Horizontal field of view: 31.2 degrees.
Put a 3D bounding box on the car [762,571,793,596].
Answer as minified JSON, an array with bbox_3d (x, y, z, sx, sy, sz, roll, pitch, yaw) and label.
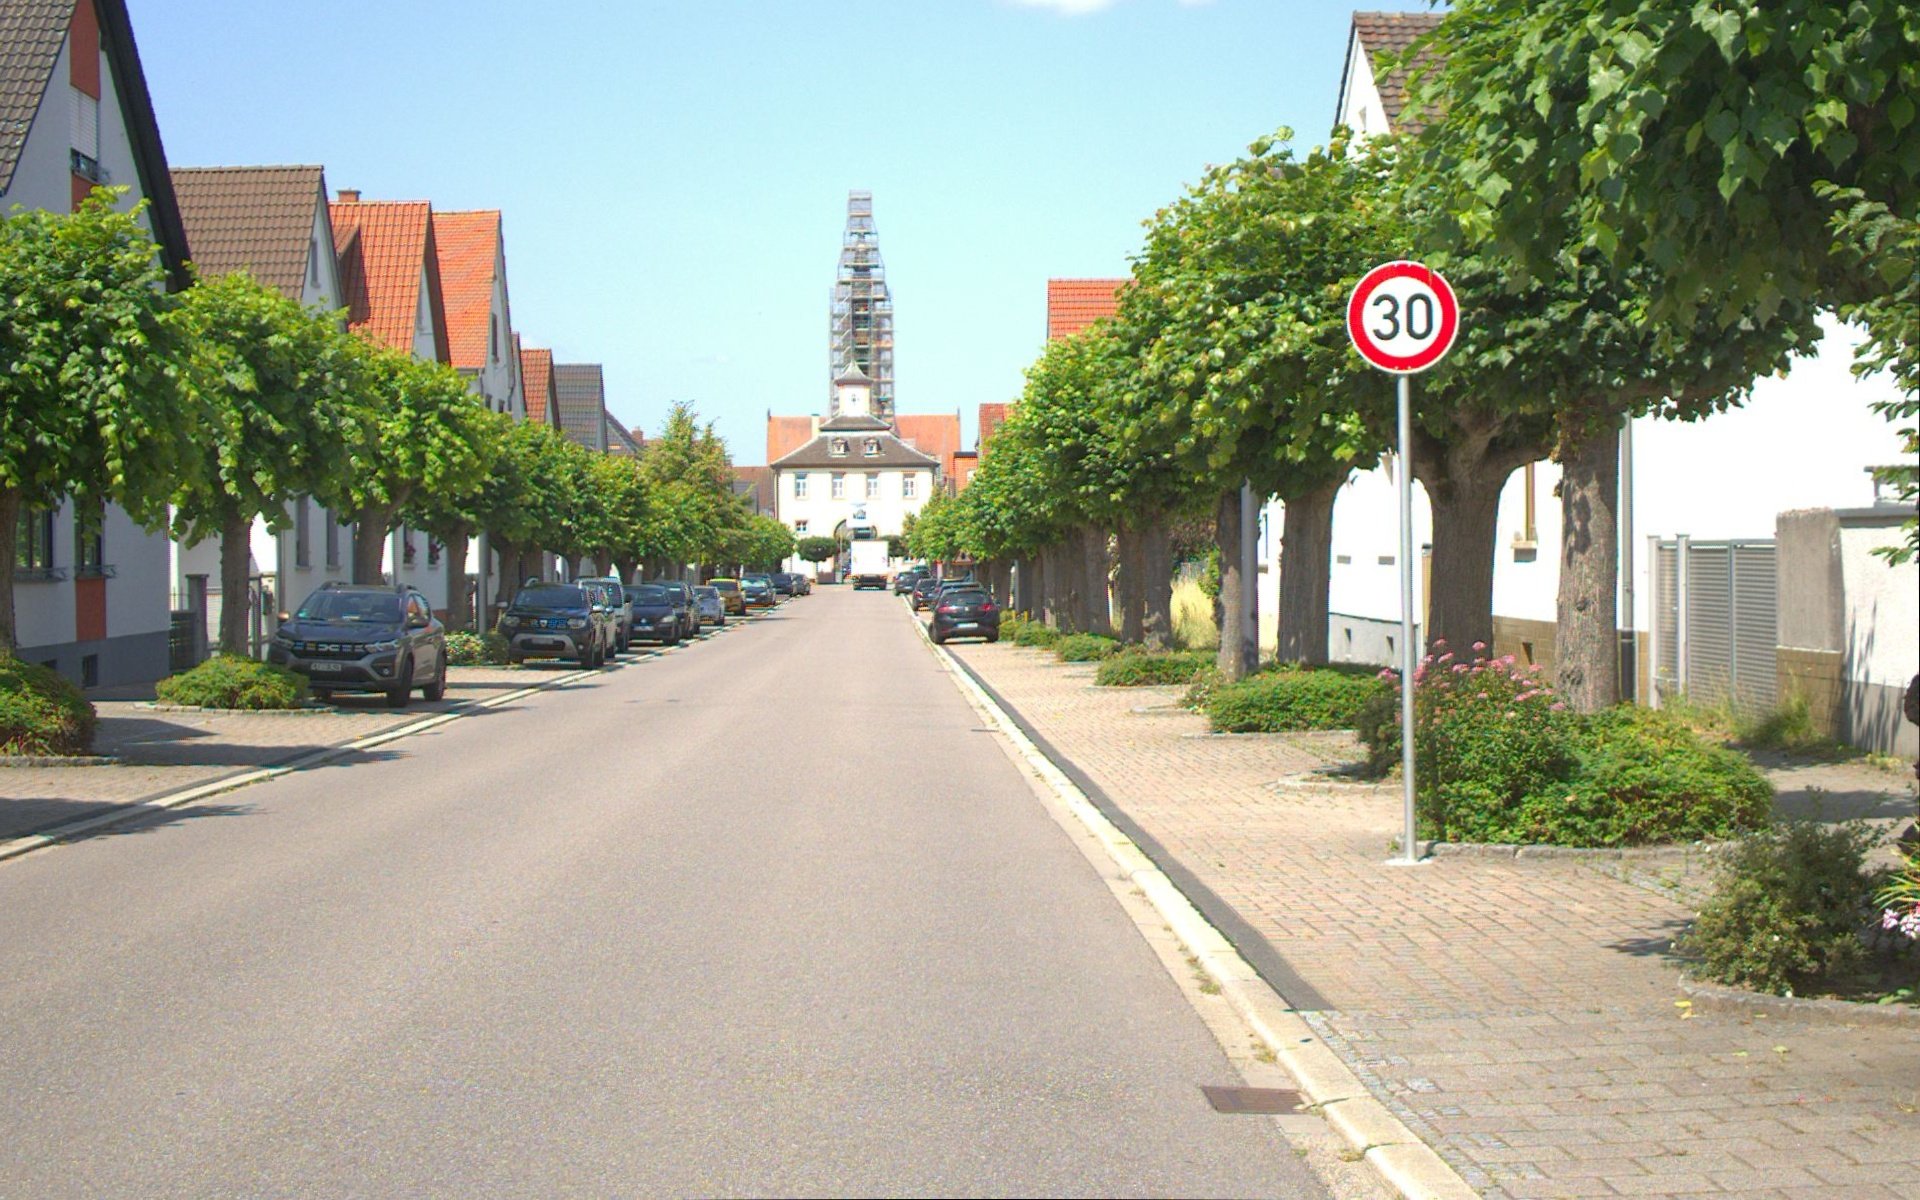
[{"bbox_3d":[-11.502,-1.046,217.179,1.757,1.550,4.020,-1,1,-1],"label":"car"}]

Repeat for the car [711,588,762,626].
[{"bbox_3d":[-9.881,0.291,152.298,1.993,1.606,4.689,1,1,0],"label":"car"}]

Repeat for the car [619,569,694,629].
[{"bbox_3d":[-8.653,-0.032,98.151,1.853,1.629,4.057,1,0,-1],"label":"car"}]

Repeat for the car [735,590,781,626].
[{"bbox_3d":[-10.233,0.390,174.290,1.993,1.606,4.689,2,1,0],"label":"car"}]

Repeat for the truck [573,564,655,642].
[{"bbox_3d":[-8.190,0.052,81.605,1.576,1.759,4.192,1,0,-1],"label":"truck"}]

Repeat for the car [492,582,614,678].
[{"bbox_3d":[-7.674,0.538,65.154,1.853,1.631,4.299,2,1,-1],"label":"car"}]

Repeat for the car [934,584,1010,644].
[{"bbox_3d":[0.286,0.352,90.853,1.824,1.427,4.057,-3,1,-1],"label":"car"}]

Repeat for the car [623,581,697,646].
[{"bbox_3d":[-7.895,0.337,90.248,1.785,1.628,4.001,1,0,-7],"label":"car"}]

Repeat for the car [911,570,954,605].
[{"bbox_3d":[-1.286,-0.586,160.329,1.837,1.550,4.314,-2,1,-2],"label":"car"}]

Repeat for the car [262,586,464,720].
[{"bbox_3d":[-7.747,0.655,44.967,1.853,1.607,4.135,1,0,1],"label":"car"}]
